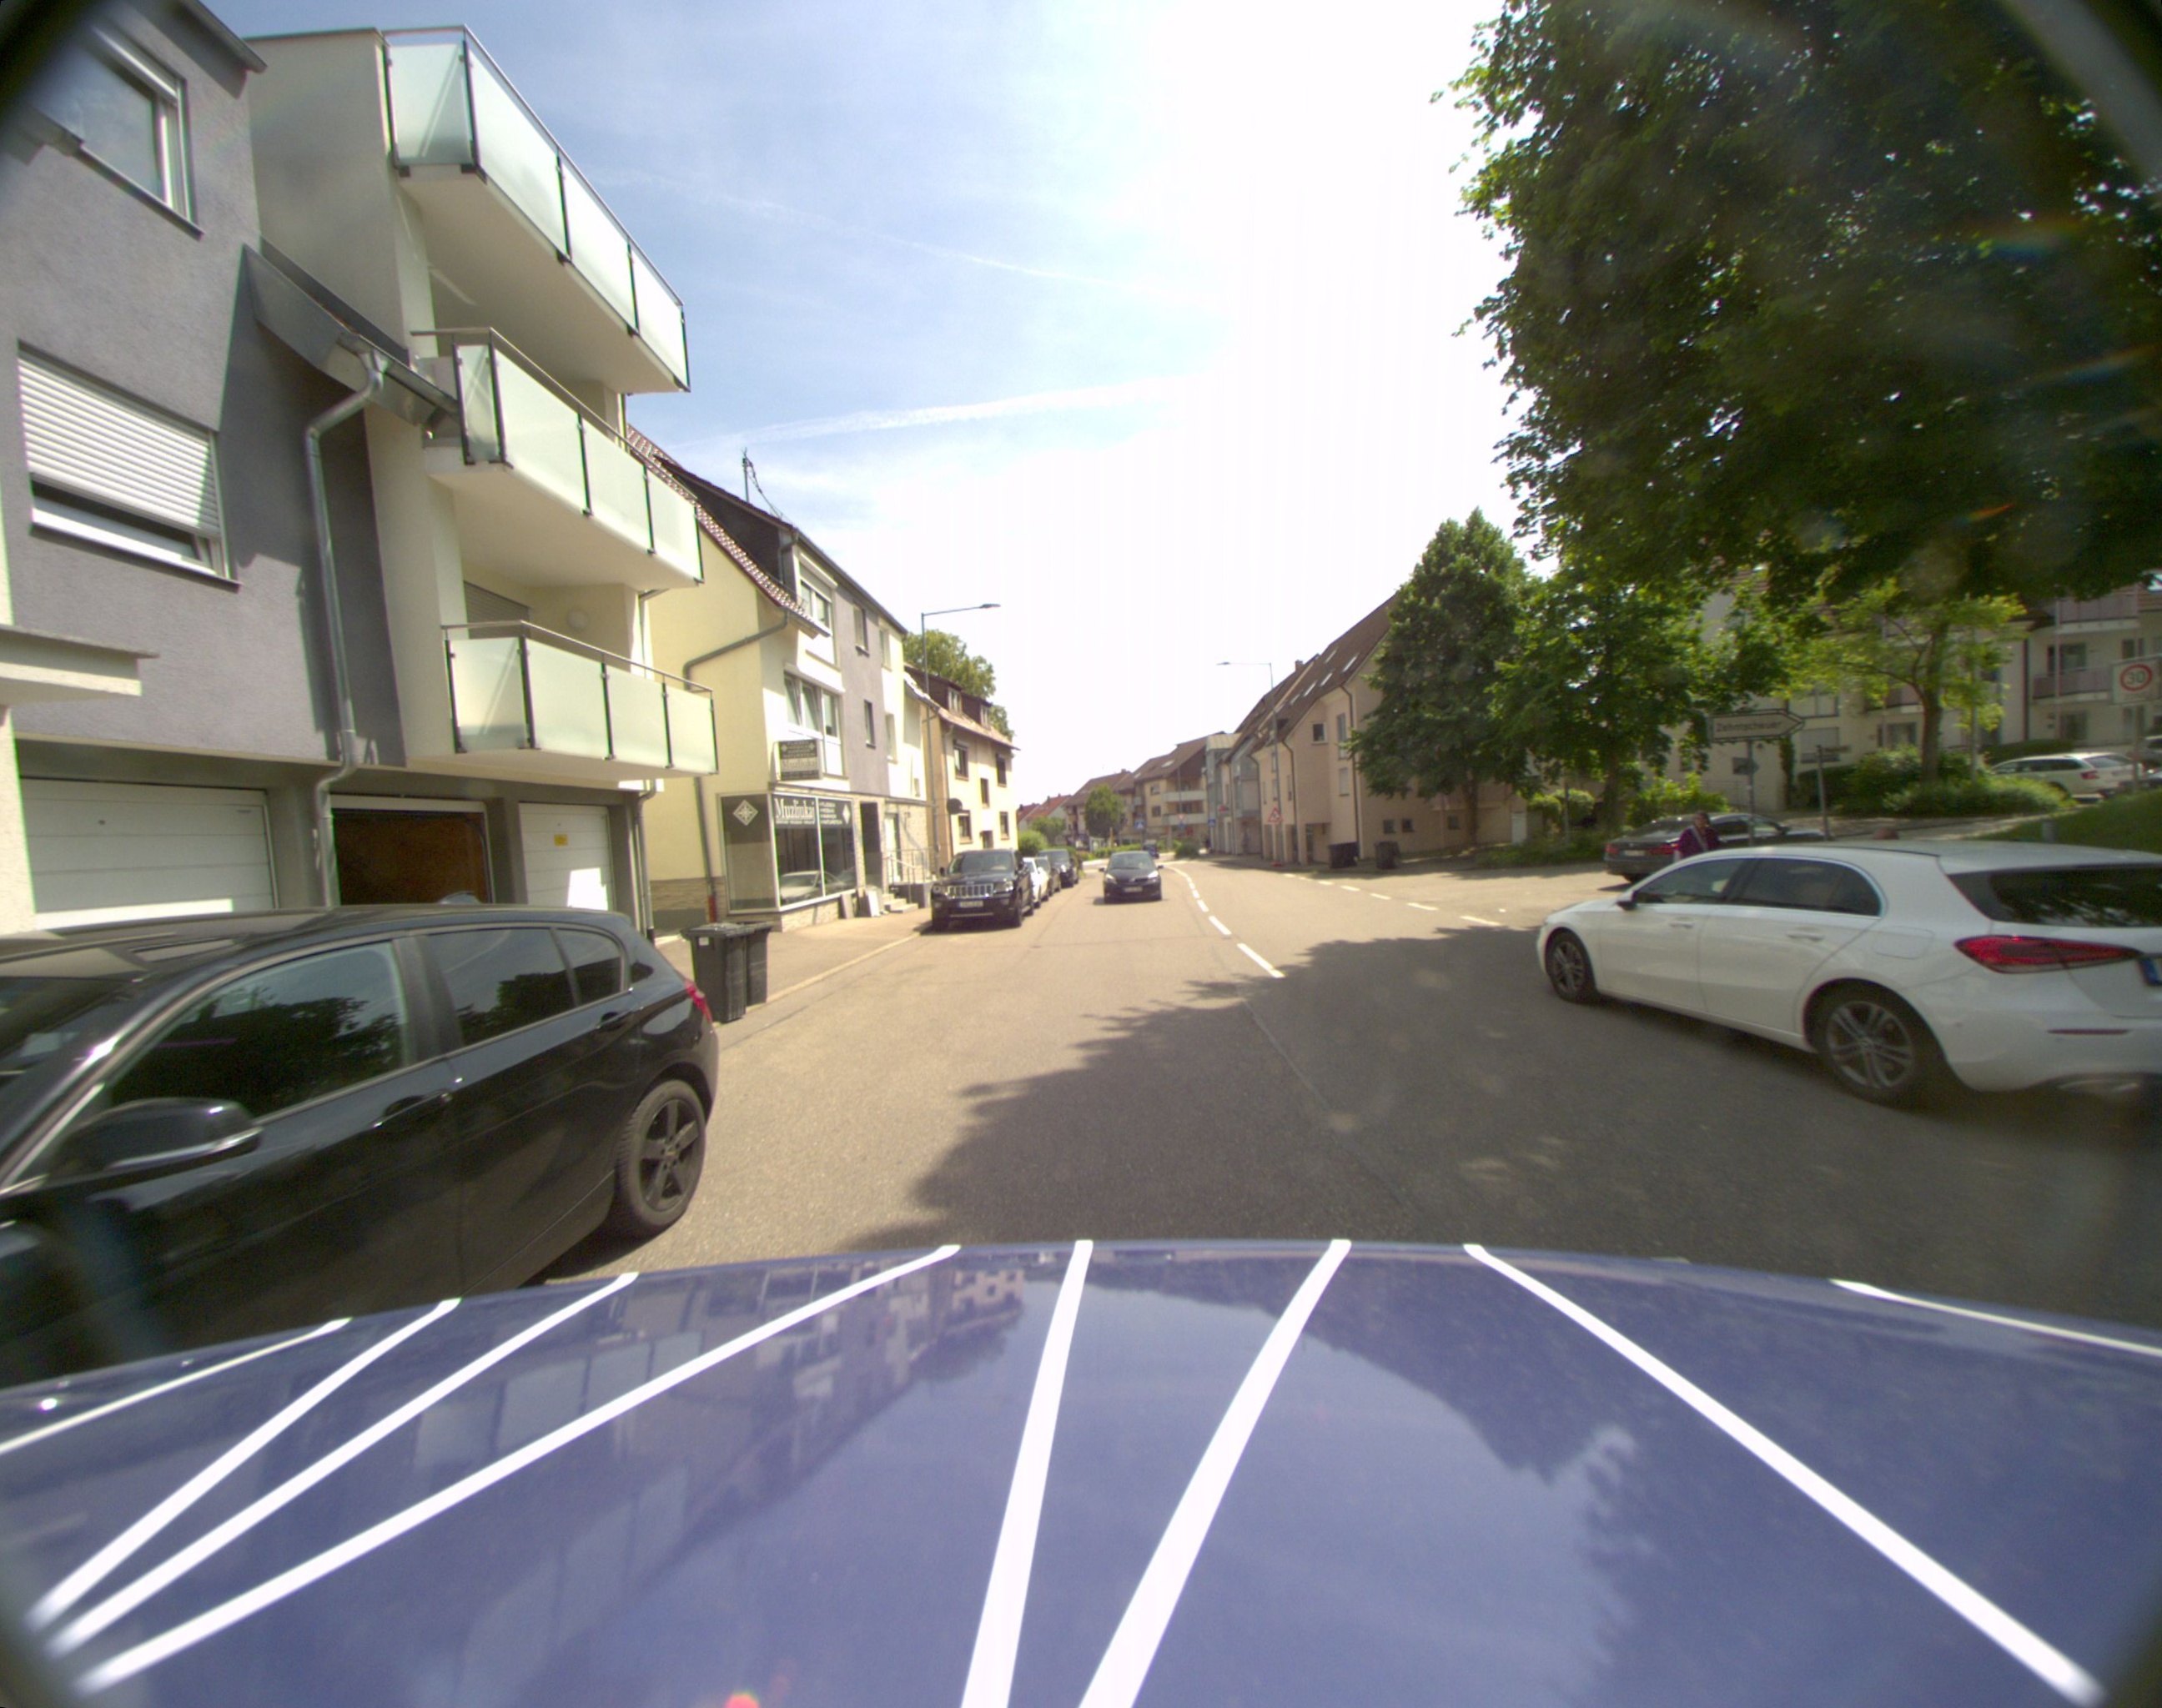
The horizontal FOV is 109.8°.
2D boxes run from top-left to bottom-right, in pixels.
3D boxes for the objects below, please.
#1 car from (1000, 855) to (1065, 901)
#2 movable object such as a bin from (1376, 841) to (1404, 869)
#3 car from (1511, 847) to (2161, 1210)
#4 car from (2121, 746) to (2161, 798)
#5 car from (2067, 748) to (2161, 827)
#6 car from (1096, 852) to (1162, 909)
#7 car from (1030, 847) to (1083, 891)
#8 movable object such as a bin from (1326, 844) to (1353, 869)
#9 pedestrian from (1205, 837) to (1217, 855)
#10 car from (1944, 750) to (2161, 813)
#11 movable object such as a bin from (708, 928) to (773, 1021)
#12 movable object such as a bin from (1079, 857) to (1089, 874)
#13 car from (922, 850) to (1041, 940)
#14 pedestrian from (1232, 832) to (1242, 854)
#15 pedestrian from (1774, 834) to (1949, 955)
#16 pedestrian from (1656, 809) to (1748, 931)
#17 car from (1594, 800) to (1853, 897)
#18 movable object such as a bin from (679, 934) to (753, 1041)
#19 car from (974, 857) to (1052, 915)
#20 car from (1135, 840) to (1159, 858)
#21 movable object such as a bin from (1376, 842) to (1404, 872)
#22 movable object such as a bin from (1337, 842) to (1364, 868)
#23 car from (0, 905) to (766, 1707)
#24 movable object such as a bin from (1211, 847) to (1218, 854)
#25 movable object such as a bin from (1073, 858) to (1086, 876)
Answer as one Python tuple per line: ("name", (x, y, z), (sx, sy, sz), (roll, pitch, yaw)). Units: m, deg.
("car", (-1.753, 0.848, 28.774), (1.793, 1.412, 4.359), (-3, 1, 4))
("movable object such as a bin", (12.089, 0.037, 29.752), (0.773, 0.995, 0.609), (-8, 3, 6))
("car", (5.056, 0.718, 5.328), (1.759, 1.458, 4.363), (-2, 1, 3))
("car", (37.682, -2.866, 24.825), (1.998, 1.700, 4.001), (-3, 0, 4))
("car", (26.385, -1.735, 17.646), (3.995, 1.674, 1.910), (-7, 0, 7))
("car", (1.425, 0.731, 23.168), (1.725, 1.448, 4.430), (-3, 0, 3))
("car", (-1.036, 0.605, 34.532), (1.847, 1.660, 4.655), (-5, 1, 4))
("movable object such as a bin", (10.792, 0.102, 31.753), (0.853, 0.995, 0.694), (-4, 1, 6))
("pedestrian", (11.598, -0.731, 67.658), (0.802, 1.470, 0.957), (-5, 2, 1))
("car", (31.681, -2.303, 24.957), (1.998, 1.558, 4.147), (-4, 0, 4))
("movable object such as a bin", (-3.677, 1.291, 8.227), (0.432, 0.919, 0.491), (-2, 1, 2))
("movable object such as a bin", (0.180, 0.698, 45.195), (0.501, 0.988, 0.503), (-5, 1, -4))
("car", (-2.168, 0.827, 17.956), (1.958, 1.706, 4.716), (-4, 1, 1))
("pedestrian", (12.302, -0.897, 60.068), (0.576, 1.699, 0.579), (-6, 2, 5))
("pedestrian", (9.084, 0.457, 8.885), (1.239, 1.262, 0.646), (-5, 2, 7))
("pedestrian", (8.708, 0.219, 10.670), (0.733, 1.607, 0.628), (-5, 2, -16))
("car", (14.355, -0.157, 17.030), (4.792, 1.471, 1.997), (-7, 2, -15))
("movable object such as a bin", (-3.572, 1.290, 7.460), (0.432, 0.951, 0.517), (-1, 1, 2))
("car", (-1.975, 0.900, 23.453), (1.793, 1.447, 4.716), (-4, 1, 1))
("car", (6.414, -0.500, 74.080), (1.757, 1.575, 3.943), (-5, 1, -3))
("movable object such as a bin", (11.794, 0.107, 29.031), (0.773, 0.995, 0.609), (-8, 5, 7))
("movable object such as a bin", (11.298, 0.041, 31.846), (0.802, 0.994, 0.805), (-6, 1, 6))
("car", (-2.626, 1.048, 1.738), (1.801, 1.416, 4.290), (-3, 1, 2))
("movable object such as a bin", (11.801, -0.298, 67.301), (0.459, 0.578, 0.469), (-5, 1, 1))
("movable object such as a bin", (-0.084, 0.753, 44.492), (0.525, 0.987, 0.502), (-4, 1, 18))
